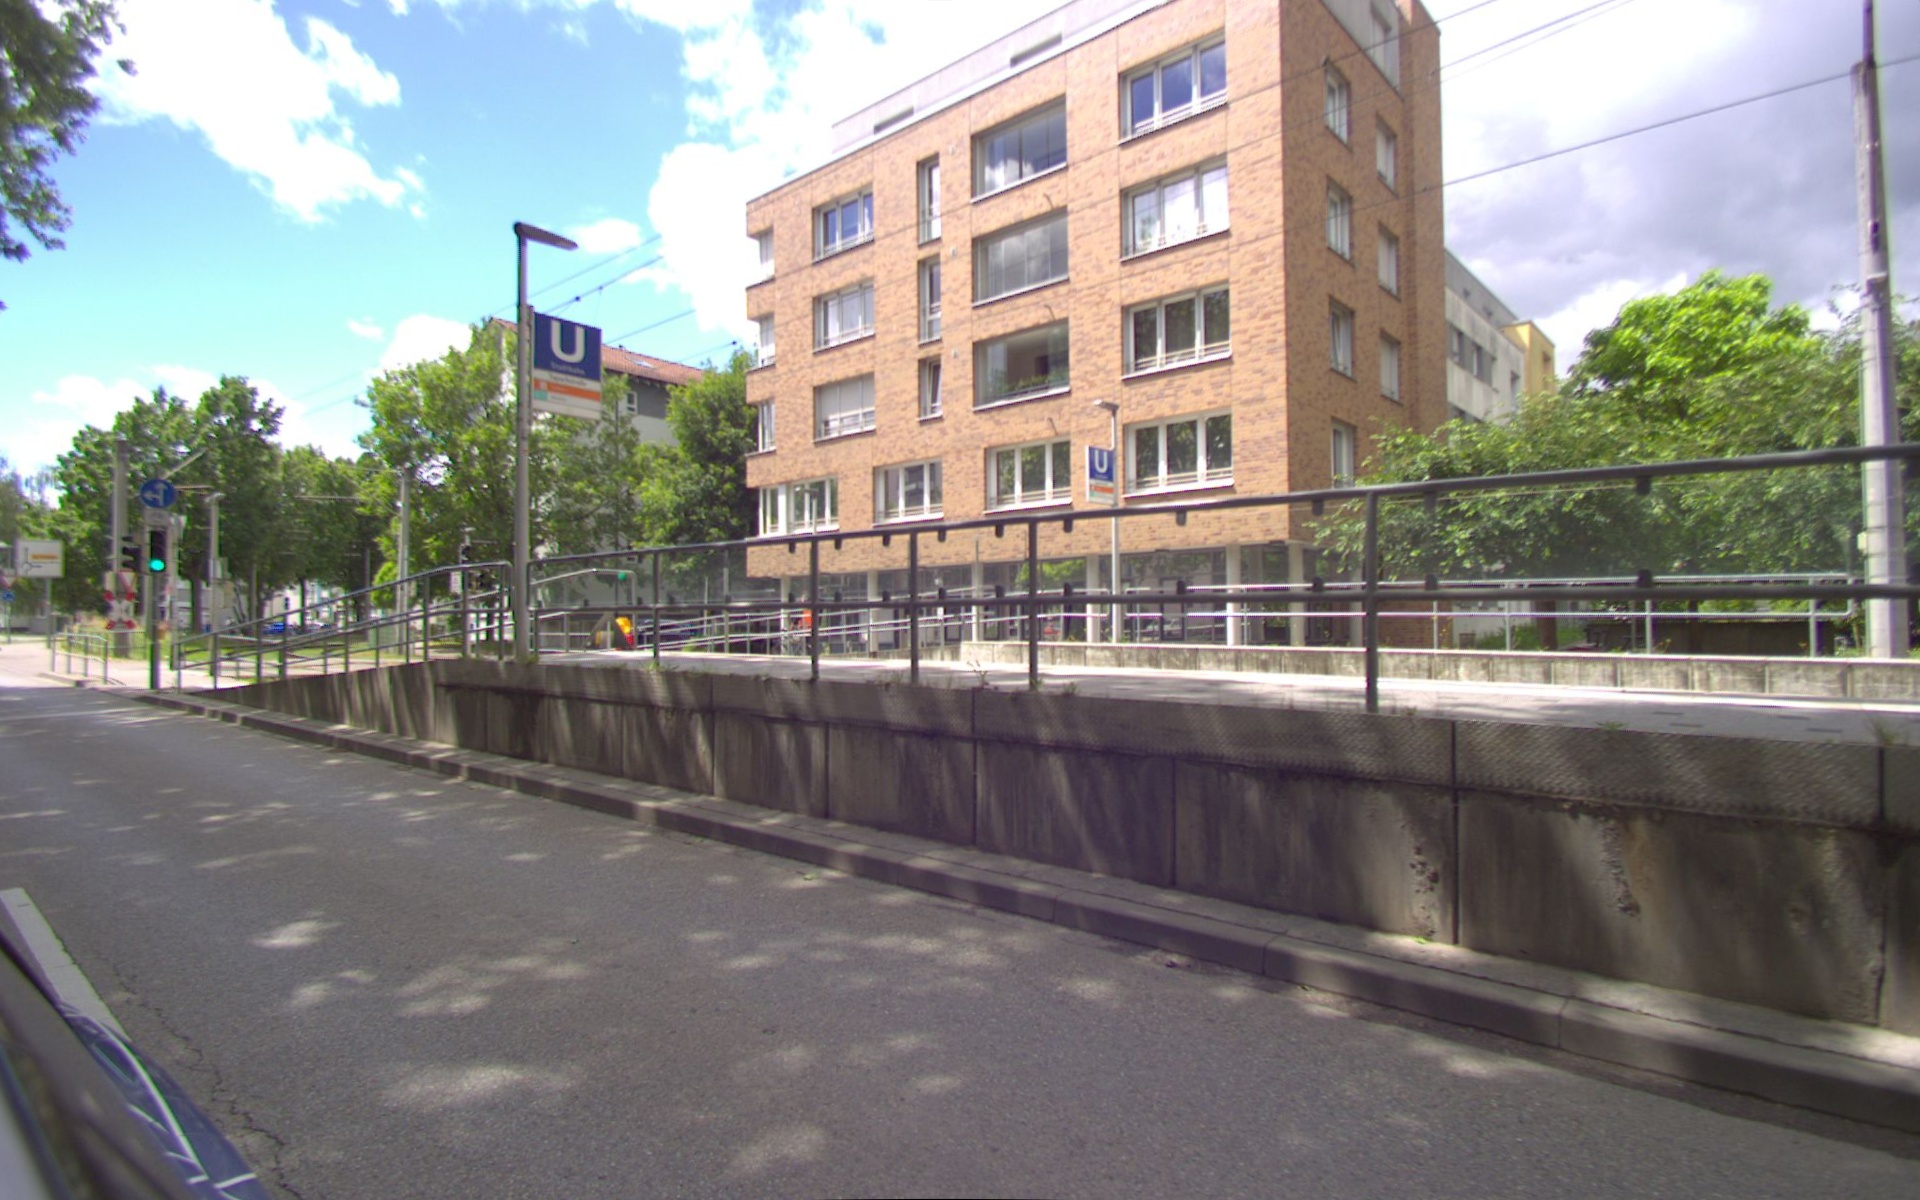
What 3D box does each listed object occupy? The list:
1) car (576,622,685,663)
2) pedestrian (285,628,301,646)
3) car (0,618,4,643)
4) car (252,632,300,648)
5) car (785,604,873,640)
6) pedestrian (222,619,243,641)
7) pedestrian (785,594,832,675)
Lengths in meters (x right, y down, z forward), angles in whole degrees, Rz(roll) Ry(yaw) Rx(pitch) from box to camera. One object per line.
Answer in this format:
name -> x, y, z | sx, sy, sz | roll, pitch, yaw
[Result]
car -> -12.670, 1.661, 39.036 | 1.588, 1.488, 3.632 | -2, -4, 43
pedestrian -> -63.668, 3.558, 96.624 | 0.873, 1.677, 1.010 | -1, -2, 35
car -> -73.998, 2.251, 74.916 | 2.000, 1.810, 4.552 | -2, -3, 43
car -> -66.837, 3.862, 98.850 | 4.091, 1.535, 1.797 | -1, -2, 19
car -> -5.346, 0.932, 41.686 | 1.593, 1.410, 3.496 | -1, -2, 38
pedestrian -> -56.025, 2.335, 77.958 | 1.010, 1.677, 0.873 | 0, -2, 8
pedestrian -> -3.563, 0.808, 23.780 | 0.828, 1.839, 0.736 | -2, -3, 40
